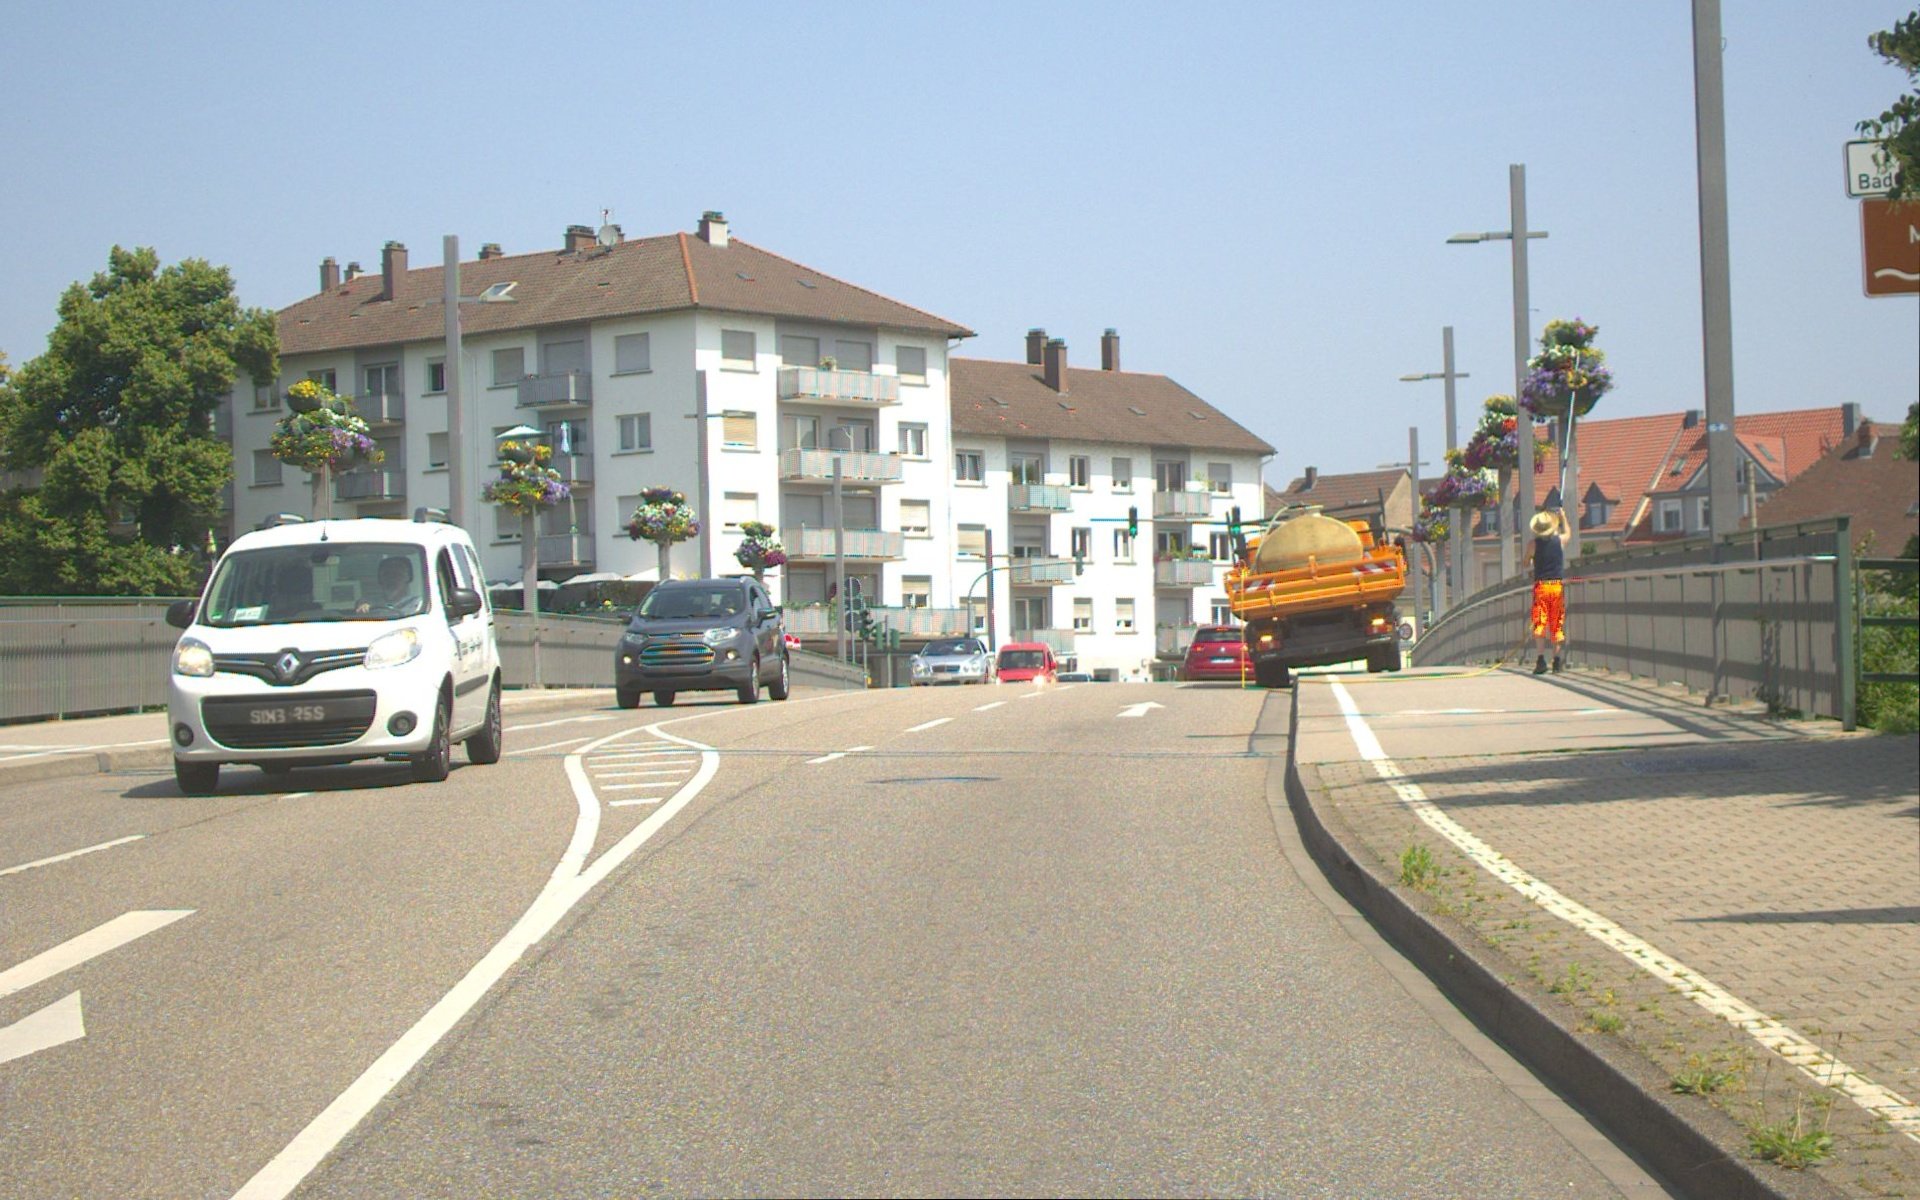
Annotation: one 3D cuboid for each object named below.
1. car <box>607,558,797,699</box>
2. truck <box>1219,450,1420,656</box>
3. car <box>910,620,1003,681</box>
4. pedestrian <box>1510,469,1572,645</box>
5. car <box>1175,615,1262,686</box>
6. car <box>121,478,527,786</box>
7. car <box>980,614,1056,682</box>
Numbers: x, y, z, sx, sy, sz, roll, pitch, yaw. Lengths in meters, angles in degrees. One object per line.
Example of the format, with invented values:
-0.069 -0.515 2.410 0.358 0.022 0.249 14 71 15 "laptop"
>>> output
-3.254 0.365 44.017 1.737 1.635 3.920 -3 -1 5 "car"
5.123 -0.589 48.943 2.606 2.682 5.821 -2 -1 6 "truck"
-0.051 1.147 78.773 1.699 1.354 4.455 0 -1 6 "car"
6.568 -0.476 38.901 0.547 1.953 0.673 -1 -2 1 "pedestrian"
6.190 1.219 82.542 1.990 1.607 4.341 -2 -1 4 "car"
-4.274 0.187 23.849 1.837 1.854 4.663 -2 0 1 "car"
1.605 1.321 93.619 1.736 1.771 4.175 -1 -2 5 "car"
